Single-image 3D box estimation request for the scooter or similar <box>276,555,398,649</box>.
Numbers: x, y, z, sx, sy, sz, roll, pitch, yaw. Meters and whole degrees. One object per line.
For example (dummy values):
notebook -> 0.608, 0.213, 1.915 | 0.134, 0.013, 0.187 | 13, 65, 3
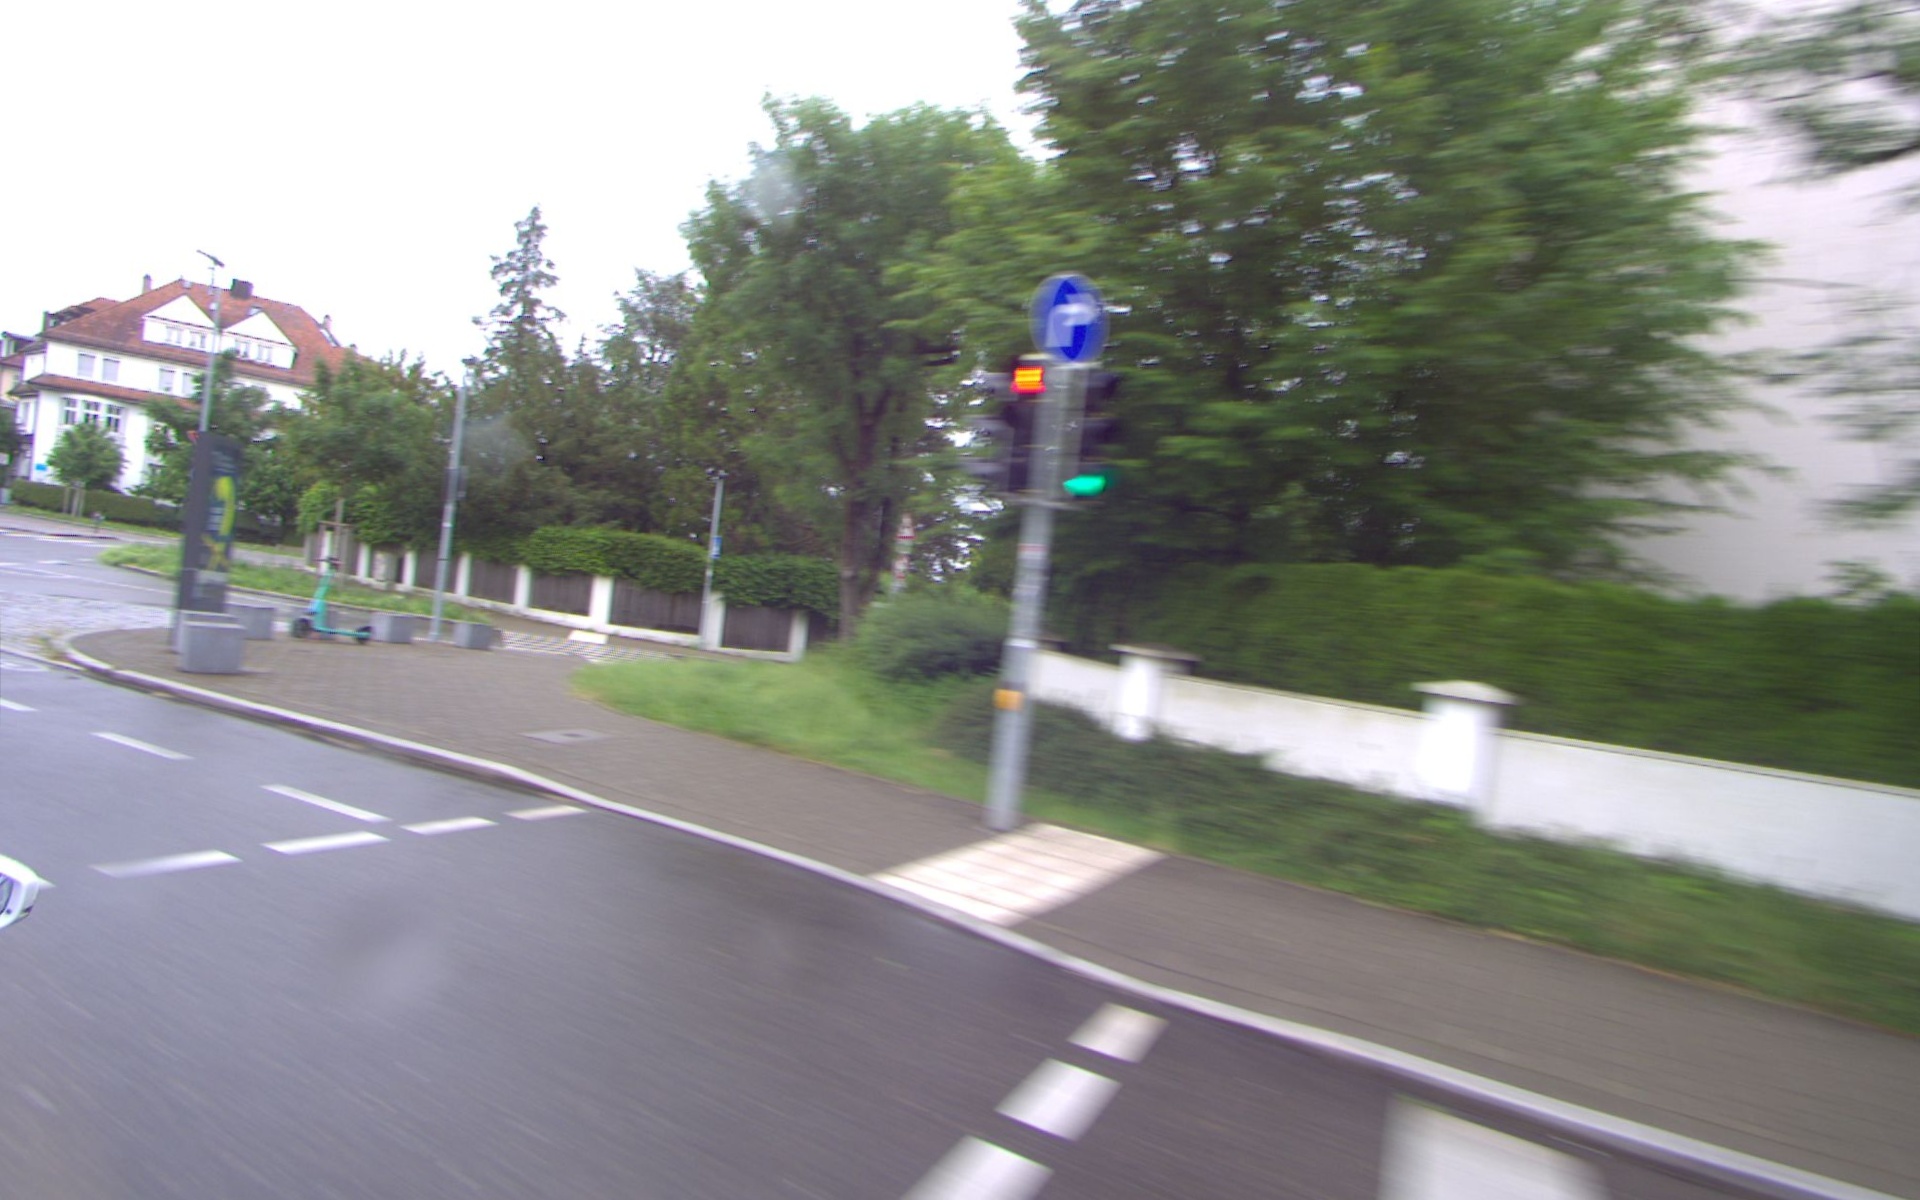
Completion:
scooter or similar -> -9.250, 0.056, 14.978 | 0.515, 1.220, 1.353 | 6, -3, 26
